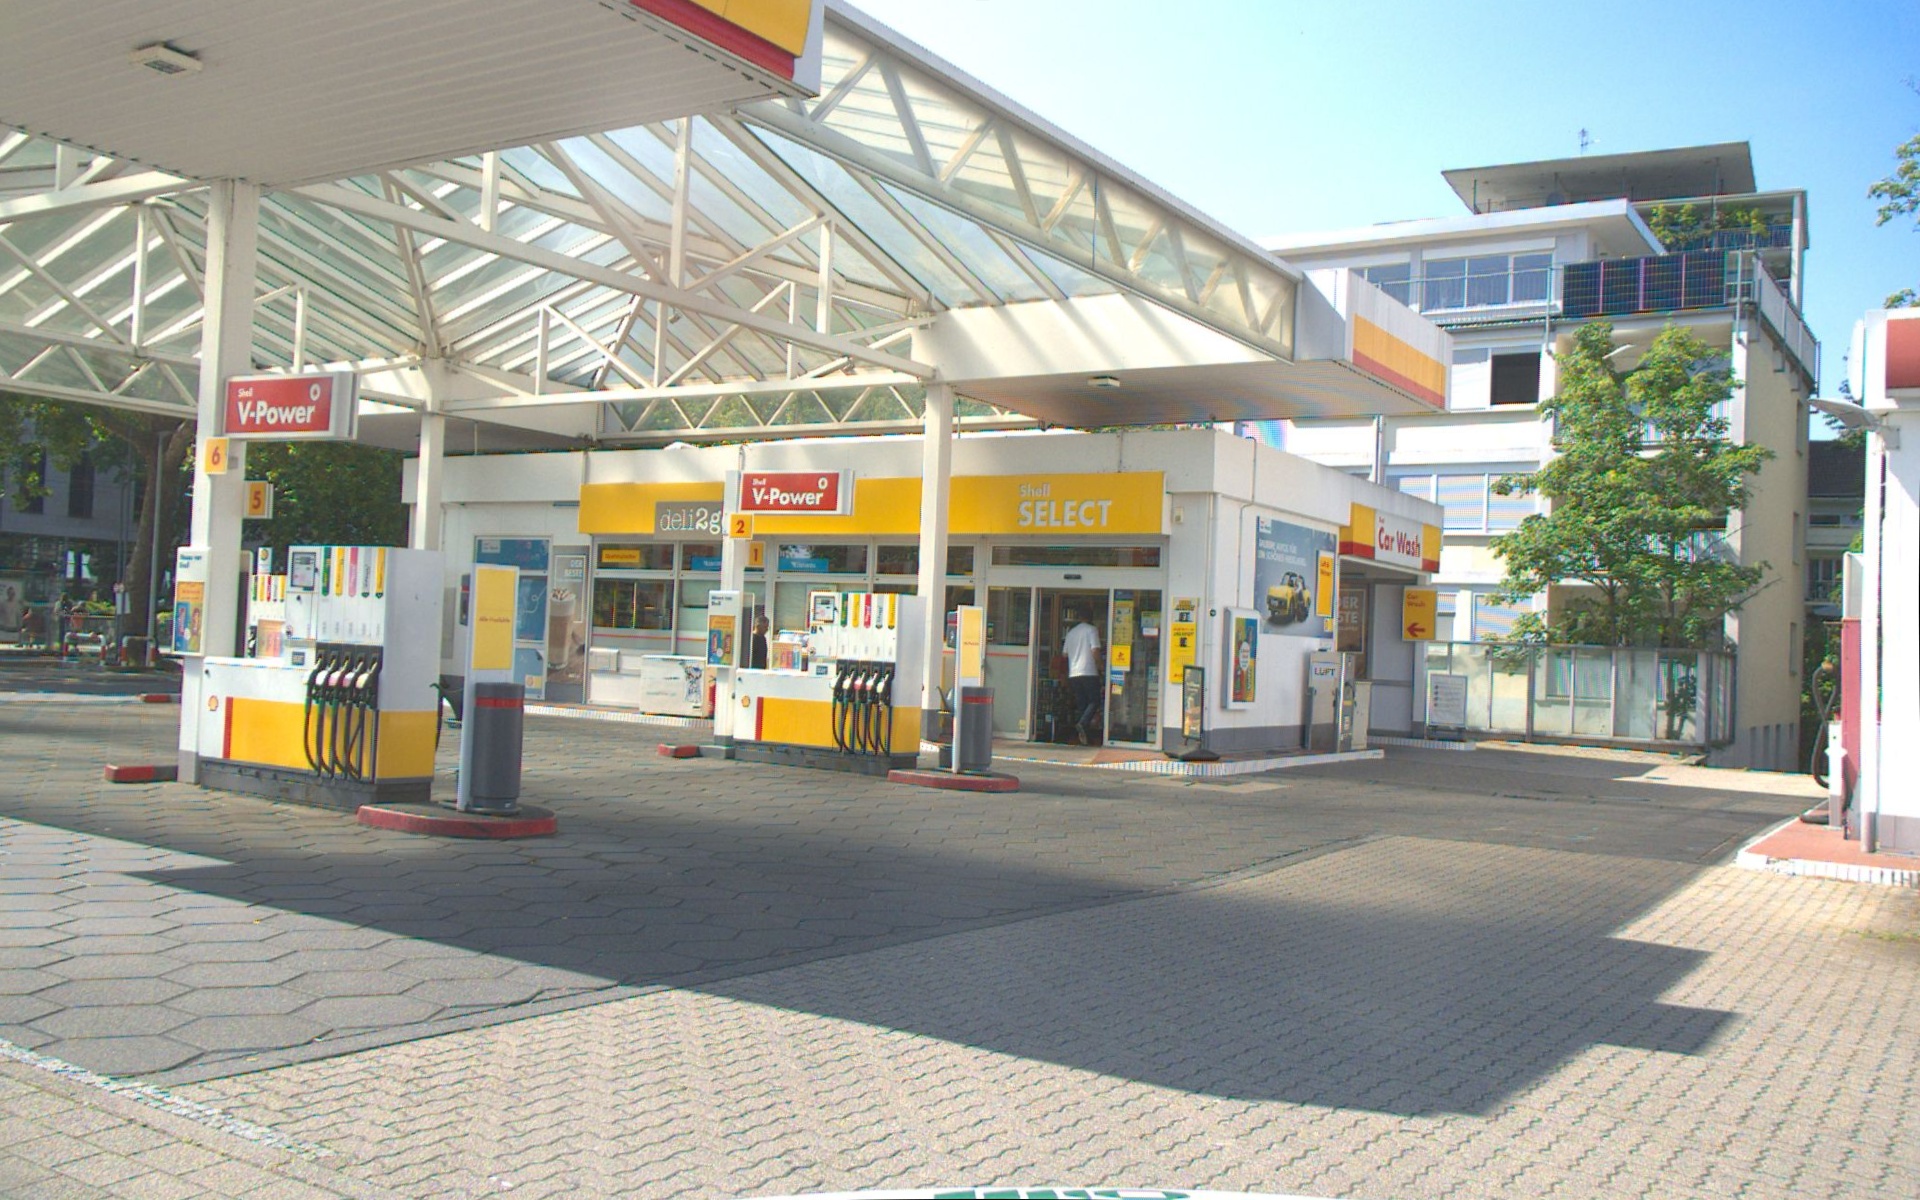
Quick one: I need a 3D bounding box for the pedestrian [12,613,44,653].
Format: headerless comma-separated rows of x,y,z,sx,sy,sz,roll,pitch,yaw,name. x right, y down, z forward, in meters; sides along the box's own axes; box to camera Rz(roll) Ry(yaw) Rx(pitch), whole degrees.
-28.001,0.992,49.682,0.514,1.158,0.627,1,-2,39,pedestrian

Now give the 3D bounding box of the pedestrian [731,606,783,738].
-2.832,1.005,23.128,0.517,1.793,0.574,2,-2,6,pedestrian

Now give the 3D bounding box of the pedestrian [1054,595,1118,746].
1.758,0.977,23.083,0.609,2.049,0.742,1,-2,24,pedestrian
